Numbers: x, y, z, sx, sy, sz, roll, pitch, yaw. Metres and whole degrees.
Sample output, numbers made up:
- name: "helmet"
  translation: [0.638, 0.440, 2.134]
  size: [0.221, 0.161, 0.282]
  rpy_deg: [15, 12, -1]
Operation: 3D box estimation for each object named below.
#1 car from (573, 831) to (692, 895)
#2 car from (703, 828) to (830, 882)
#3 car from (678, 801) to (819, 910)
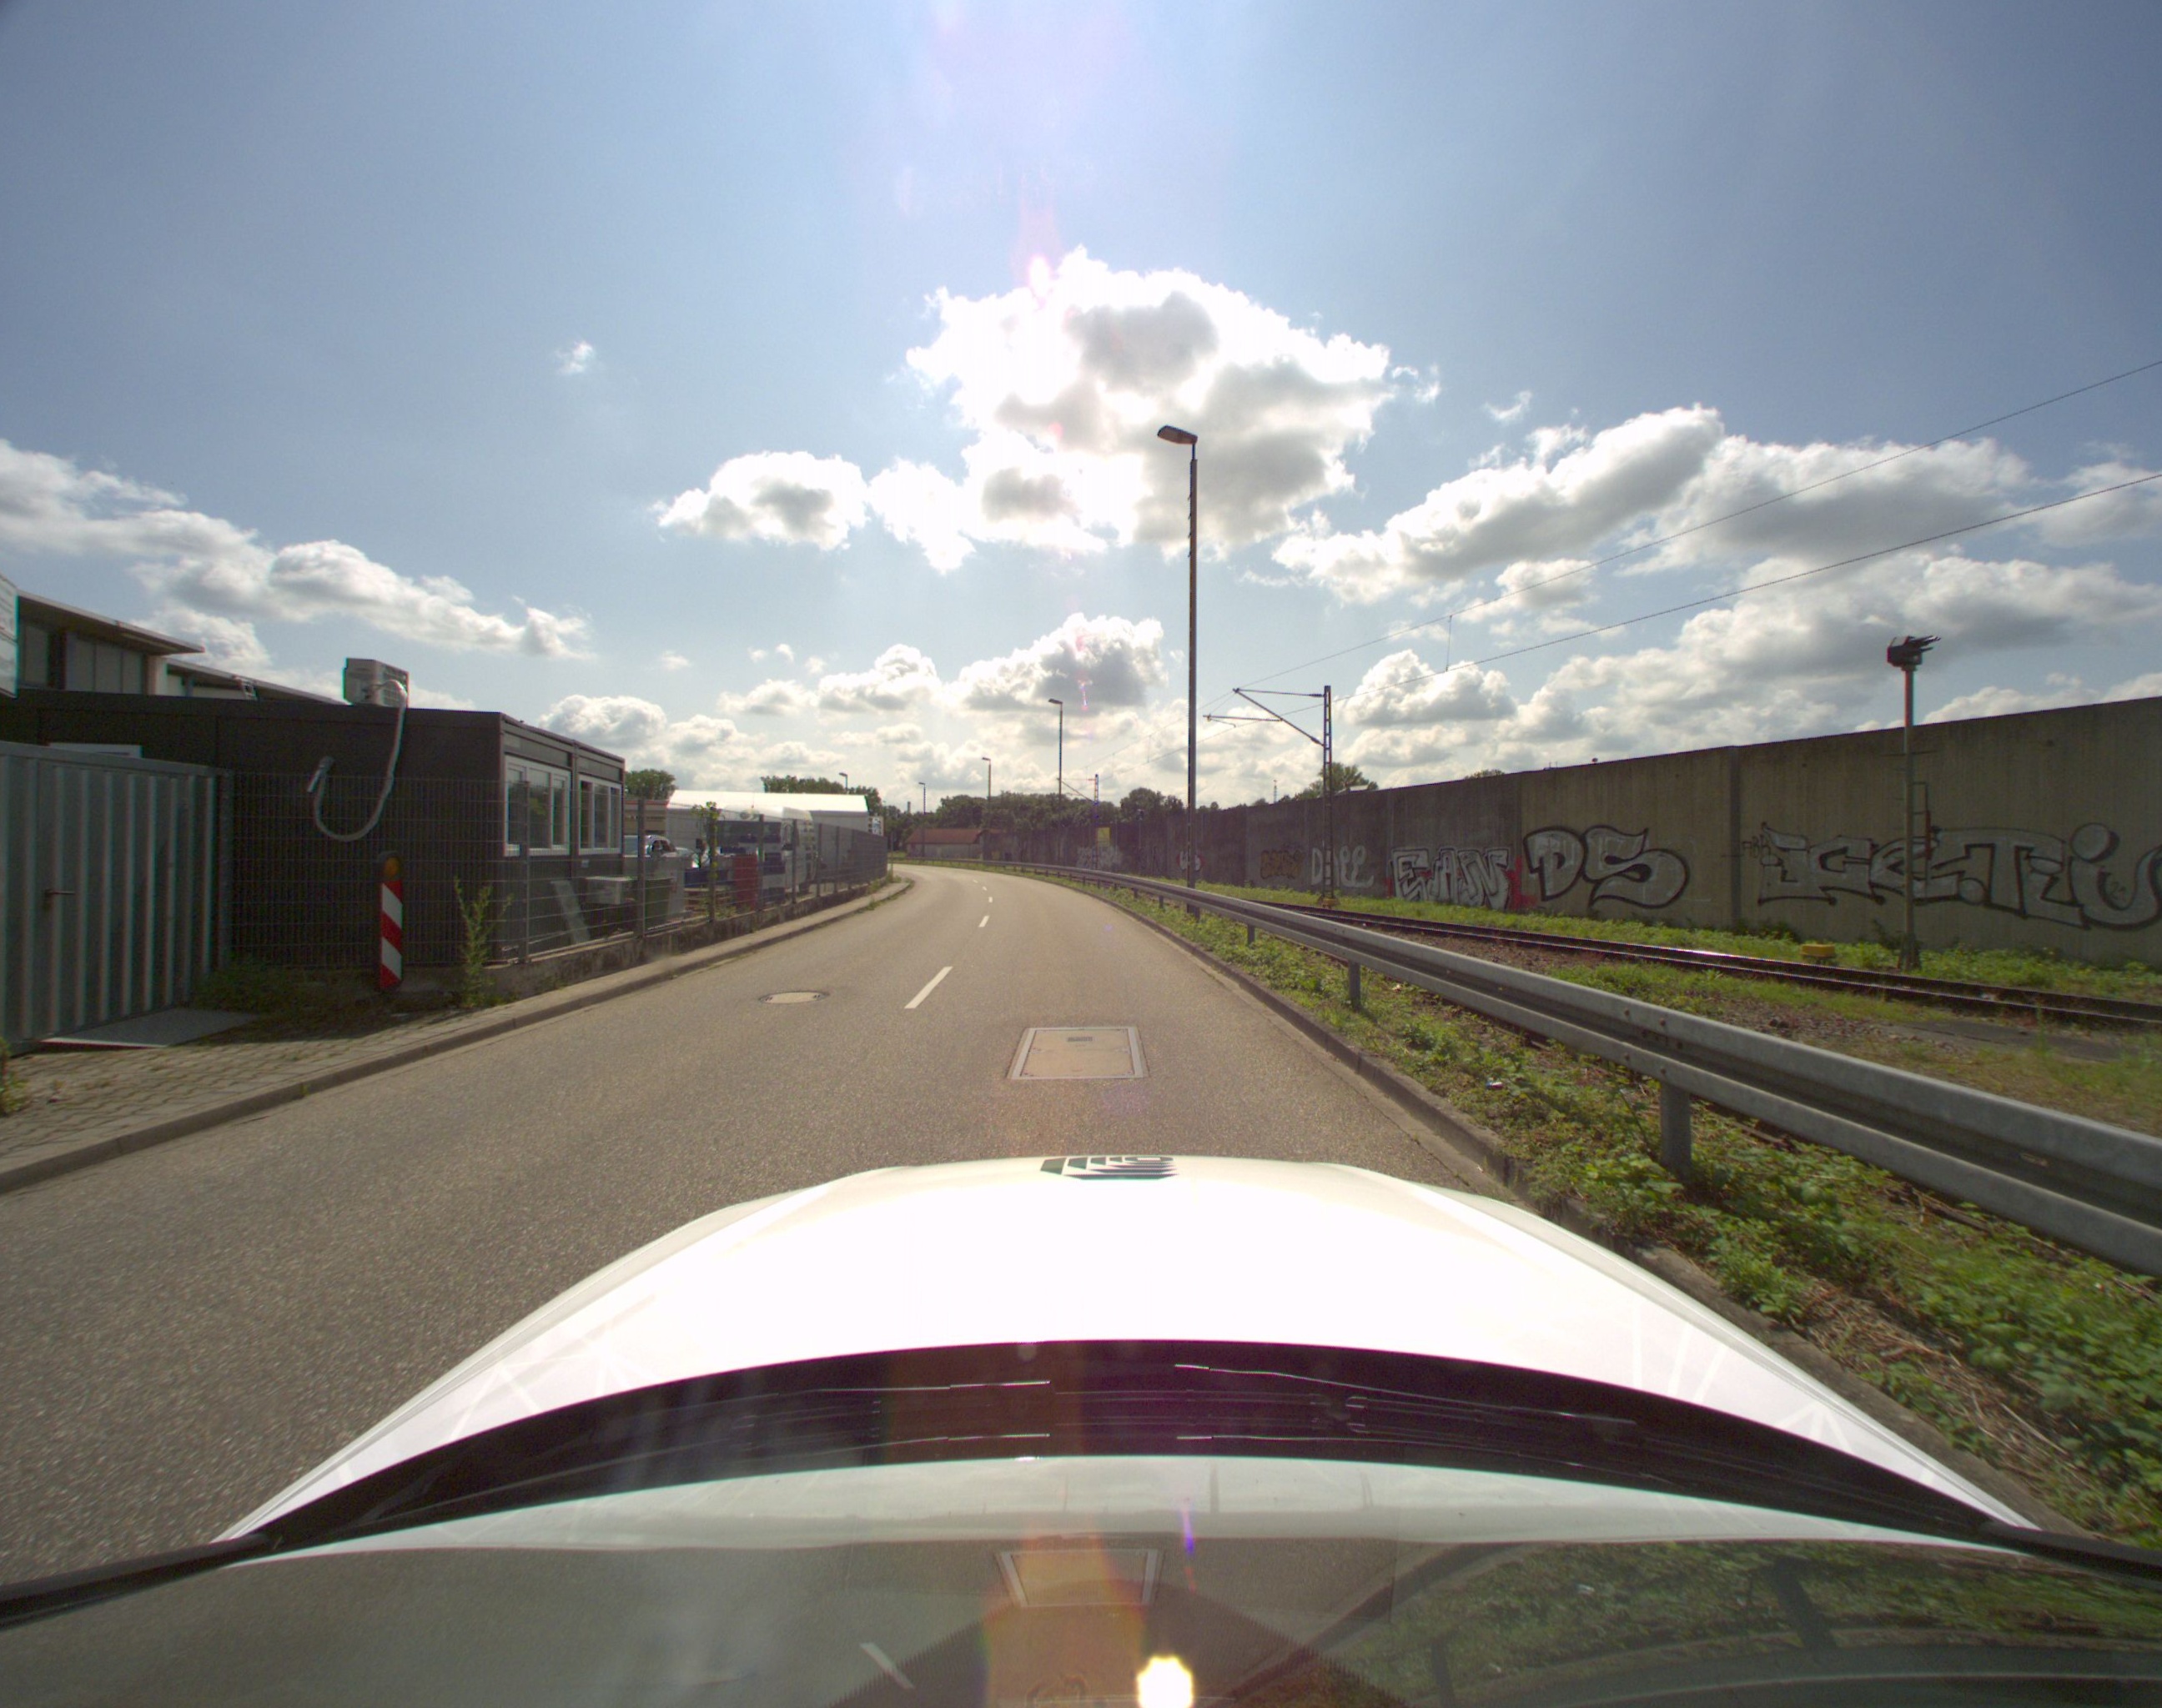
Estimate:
- name: "car"
  translation: [-12.676, 0.219, 23.309]
  size: [1.980, 1.668, 3.981]
  rpy_deg: [-1, 0, -14]
- name: "car"
  translation: [-12.536, 0.020, 32.550]
  size: [4.576, 2.026, 2.043]
  rpy_deg: [0, 0, -24]
- name: "car"
  translation: [-8.862, -0.003, 22.457]
  size: [2.119, 2.537, 6.696]
  rpy_deg: [0, 0, -9]
